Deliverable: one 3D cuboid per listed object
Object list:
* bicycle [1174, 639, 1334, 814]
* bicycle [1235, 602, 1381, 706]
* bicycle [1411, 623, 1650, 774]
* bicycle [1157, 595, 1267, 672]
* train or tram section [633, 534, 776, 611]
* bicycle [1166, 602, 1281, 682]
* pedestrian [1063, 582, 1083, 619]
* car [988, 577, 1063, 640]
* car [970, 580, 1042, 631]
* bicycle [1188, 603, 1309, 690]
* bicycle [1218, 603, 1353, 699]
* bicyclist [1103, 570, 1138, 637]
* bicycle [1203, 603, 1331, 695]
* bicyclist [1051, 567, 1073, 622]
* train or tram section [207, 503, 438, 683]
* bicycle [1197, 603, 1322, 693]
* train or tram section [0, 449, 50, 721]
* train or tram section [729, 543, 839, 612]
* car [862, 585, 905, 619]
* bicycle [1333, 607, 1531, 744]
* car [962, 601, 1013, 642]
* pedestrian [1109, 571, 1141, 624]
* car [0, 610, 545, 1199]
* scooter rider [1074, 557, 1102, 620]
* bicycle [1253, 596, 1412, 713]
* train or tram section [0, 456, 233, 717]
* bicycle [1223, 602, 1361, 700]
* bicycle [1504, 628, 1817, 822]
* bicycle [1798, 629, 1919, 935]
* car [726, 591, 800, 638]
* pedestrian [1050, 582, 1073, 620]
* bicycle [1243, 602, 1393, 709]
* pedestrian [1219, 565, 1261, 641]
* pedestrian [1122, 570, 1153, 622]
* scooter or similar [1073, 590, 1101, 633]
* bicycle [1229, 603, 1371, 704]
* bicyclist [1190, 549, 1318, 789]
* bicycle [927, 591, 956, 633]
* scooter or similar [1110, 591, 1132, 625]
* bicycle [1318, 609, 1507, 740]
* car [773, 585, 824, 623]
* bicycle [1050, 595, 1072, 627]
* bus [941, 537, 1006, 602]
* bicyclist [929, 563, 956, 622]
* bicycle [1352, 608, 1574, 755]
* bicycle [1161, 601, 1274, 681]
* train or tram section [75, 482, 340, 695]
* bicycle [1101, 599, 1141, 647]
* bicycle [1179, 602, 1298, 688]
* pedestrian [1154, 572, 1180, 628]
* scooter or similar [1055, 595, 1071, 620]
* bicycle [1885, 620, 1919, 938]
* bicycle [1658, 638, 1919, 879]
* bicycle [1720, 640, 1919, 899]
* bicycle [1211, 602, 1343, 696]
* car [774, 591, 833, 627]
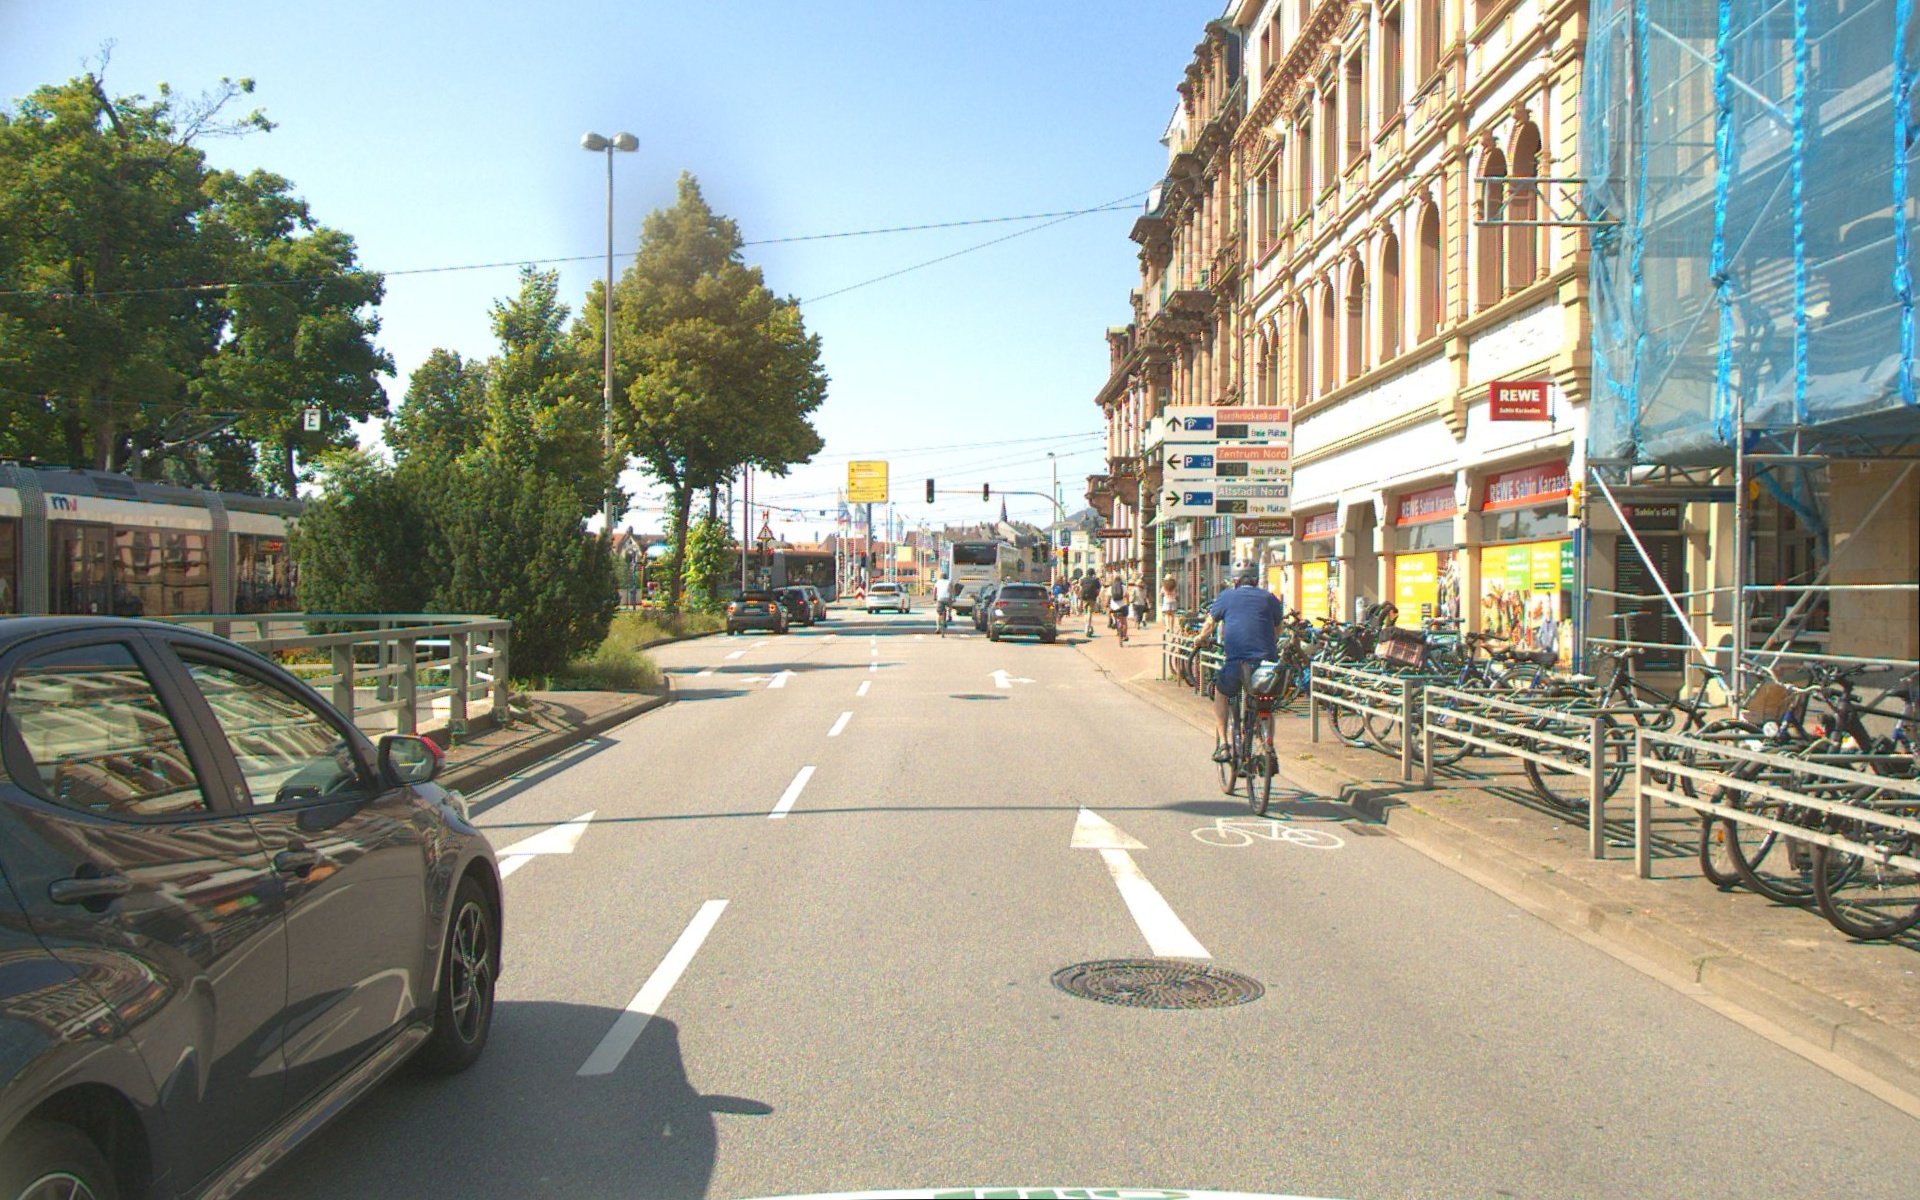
[{"bbox_3d":[2.107,0.877,12.095,0.719,1.112,1.910,3,-1,-2],"label":"bicycle"},{"bbox_3d":[4.267,0.662,20.328,1.659,1.199,0.490,2,-1,0],"label":"bicycle"},{"bbox_3d":[4.515,0.767,13.149,1.659,1.106,0.608,2,-1,0],"label":"bicycle"},{"bbox_3d":[4.027,0.536,26.473,1.658,1.199,0.608,1,0,0],"label":"bicycle"},{"bbox_3d":[-13.646,-1.407,89.412,2.765,3.643,10.030,3,-1,22],"label":"train or tram section"},{"bbox_3d":[4.008,0.633,25.187,1.658,1.199,0.608,0,0,0],"label":"bicycle"},{"bbox_3d":[5.209,0.026,76.347,0.845,1.669,0.875,-1,0,-2],"label":"pedestrian"},{"bbox_3d":[1.735,0.237,44.903,1.835,1.518,4.000,3,-1,0],"label":"car"},{"bbox_3d":[1.465,0.184,54.391,1.954,1.518,3.997,3,-1,-3],"label":"car"},{"bbox_3d":[4.209,0.682,24.176,1.659,1.199,0.469,2,-1,-1],"label":"bicycle"},{"bbox_3d":[4.297,0.670,21.868,1.659,1.199,0.457,2,-1,0],"label":"bicycle"},{"bbox_3d":[3.948,0.092,40.738,0.674,1.604,1.049,3,-1,-1],"label":"bicyclist"},{"bbox_3d":[4.256,0.674,22.998,1.659,1.199,0.459,2,-1,0],"label":"bicycle"},{"bbox_3d":[3.717,-0.195,60.515,0.674,1.996,0.778,3,-1,1],"label":"bicyclist"},{"bbox_3d":[-14.434,-0.125,38.088,2.560,3.643,6.896,3,-1,-1],"label":"train or tram section"},{"bbox_3d":[4.257,0.679,23.565,1.659,1.199,0.460,2,-1,0],"label":"bicycle"},{"bbox_3d":[-14.130,-0.270,20.184,2.561,3.643,6.102,3,-1,-1],"label":"train or tram section"},{"bbox_3d":[-10.284,-1.287,97.810,2.765,3.643,8.224,3,-1,22],"label":"train or tram section"},{"bbox_3d":[-3.729,0.115,81.307,1.821,1.533,4.000,3,-1,0],"label":"car"},{"bbox_3d":[4.420,0.697,15.562,1.659,1.199,0.608,2,-1,0],"label":"bicycle"},{"bbox_3d":[1.100,0.880,67.773,1.953,1.518,4.000,3,-1,0],"label":"car"},{"bbox_3d":[5.382,-0.074,54.043,0.845,1.669,0.875,3,-1,-2],"label":"pedestrian"},{"bbox_3d":[-2.309,0.790,4.053,1.742,1.501,3.997,1,-1,-3],"label":"car"},{"bbox_3d":[3.678,-0.315,47.474,0.674,1.759,0.778,3,-1,1],"label":"scooter rider"},{"bbox_3d":[4.288,0.621,19.106,1.659,1.262,0.608,2,-1,0],"label":"bicycle"},{"bbox_3d":[-14.247,-0.221,26.296,2.560,3.643,6.102,3,-1,-1],"label":"train or tram section"},{"bbox_3d":[4.284,0.654,21.374,1.659,1.199,0.463,2,-1,0],"label":"bicycle"},{"bbox_3d":[4.421,0.778,10.499,1.703,1.128,0.608,2,-1,0],"label":"bicycle"},{"bbox_3d":[4.472,0.755,6.865,1.659,1.199,0.608,2,-1,0],"label":"bicycle"},{"bbox_3d":[-6.236,0.456,52.711,1.778,1.355,4.000,3,-1,0],"label":"car"},{"bbox_3d":[4.578,0.067,74.716,0.845,1.669,0.875,3,-1,-2],"label":"pedestrian"},{"bbox_3d":[4.270,0.660,19.788,1.659,1.199,0.497,2,-1,0],"label":"bicycle"},{"bbox_3d":[6.350,0.078,37.532,0.740,1.685,0.837,-2,-1,-2],"label":"pedestrian"},{"bbox_3d":[5.672,-0.128,52.907,0.845,1.669,0.875,0,0,-2],"label":"pedestrian"},{"bbox_3d":[3.631,0.329,47.428,0.674,1.188,1.464,3,-1,2],"label":"scooter or similar"},{"bbox_3d":[4.281,0.665,20.867,1.659,1.199,0.451,2,-1,0],"label":"bicycle"},{"bbox_3d":[2.126,0.487,12.050,0.674,1.644,0.918,3,-1,-2],"label":"bicyclist"},{"bbox_3d":[-0.520,0.339,46.457,0.719,1.112,1.897,3,-1,-2],"label":"bicycle"},{"bbox_3d":[5.330,0.269,54.773,0.588,1.066,0.799,3,-1,-3],"label":"scooter or similar"},{"bbox_3d":[4.426,0.719,16.236,1.659,1.199,0.608,2,-1,0],"label":"bicycle"},{"bbox_3d":[-6.022,0.167,62.008,1.422,1.323,4.000,3,-1,0],"label":"car"},{"bbox_3d":[3.683,0.400,60.557,0.719,1.112,1.898,3,-1,2],"label":"bicycle"},{"bbox_3d":[0.673,-1.402,81.467,2.908,2.825,8.641,3,-1,0],"label":"bus"},{"bbox_3d":[-0.496,-0.193,46.498,0.674,1.604,1.049,3,-1,-2],"label":"bicyclist"},{"bbox_3d":[4.406,0.703,14.552,1.735,1.199,0.608,2,-1,0],"label":"bicycle"},{"bbox_3d":[4.012,0.637,25.841,1.659,1.199,0.608,-1,0,0],"label":"bicycle"},{"bbox_3d":[-14.335,-0.175,31.994,2.560,3.643,5.355,3,-1,-1],"label":"train or tram section"},{"bbox_3d":[3.942,0.553,40.696,0.719,1.112,1.897,3,-1,-1],"label":"bicycle"},{"bbox_3d":[4.131,0.669,24.592,1.659,1.199,0.469,2,-1,-1],"label":"bicycle"},{"bbox_3d":[6.105,-0.013,48.832,0.641,1.649,0.815,0,0,-2],"label":"pedestrian"},{"bbox_3d":[4.599,0.325,74.020,0.588,1.066,0.799,3,-1,-3],"label":"scooter or similar"},{"bbox_3d":[4.467,0.707,6.182,1.659,1.199,0.608,2,-1,0],"label":"bicycle"},{"bbox_3d":[4.472,0.784,8.303,1.659,1.116,0.608,2,-1,0],"label":"bicycle"},{"bbox_3d":[4.492,0.777,7.644,1.659,1.116,0.608,2,-1,0],"label":"bicycle"},{"bbox_3d":[4.295,0.659,22.437,1.659,1.199,0.514,2,-1,0],"label":"bicycle"},{"bbox_3d":[-6.520,0.397,69.248,1.995,1.355,4.000,3,-1,0],"label":"car"}]
